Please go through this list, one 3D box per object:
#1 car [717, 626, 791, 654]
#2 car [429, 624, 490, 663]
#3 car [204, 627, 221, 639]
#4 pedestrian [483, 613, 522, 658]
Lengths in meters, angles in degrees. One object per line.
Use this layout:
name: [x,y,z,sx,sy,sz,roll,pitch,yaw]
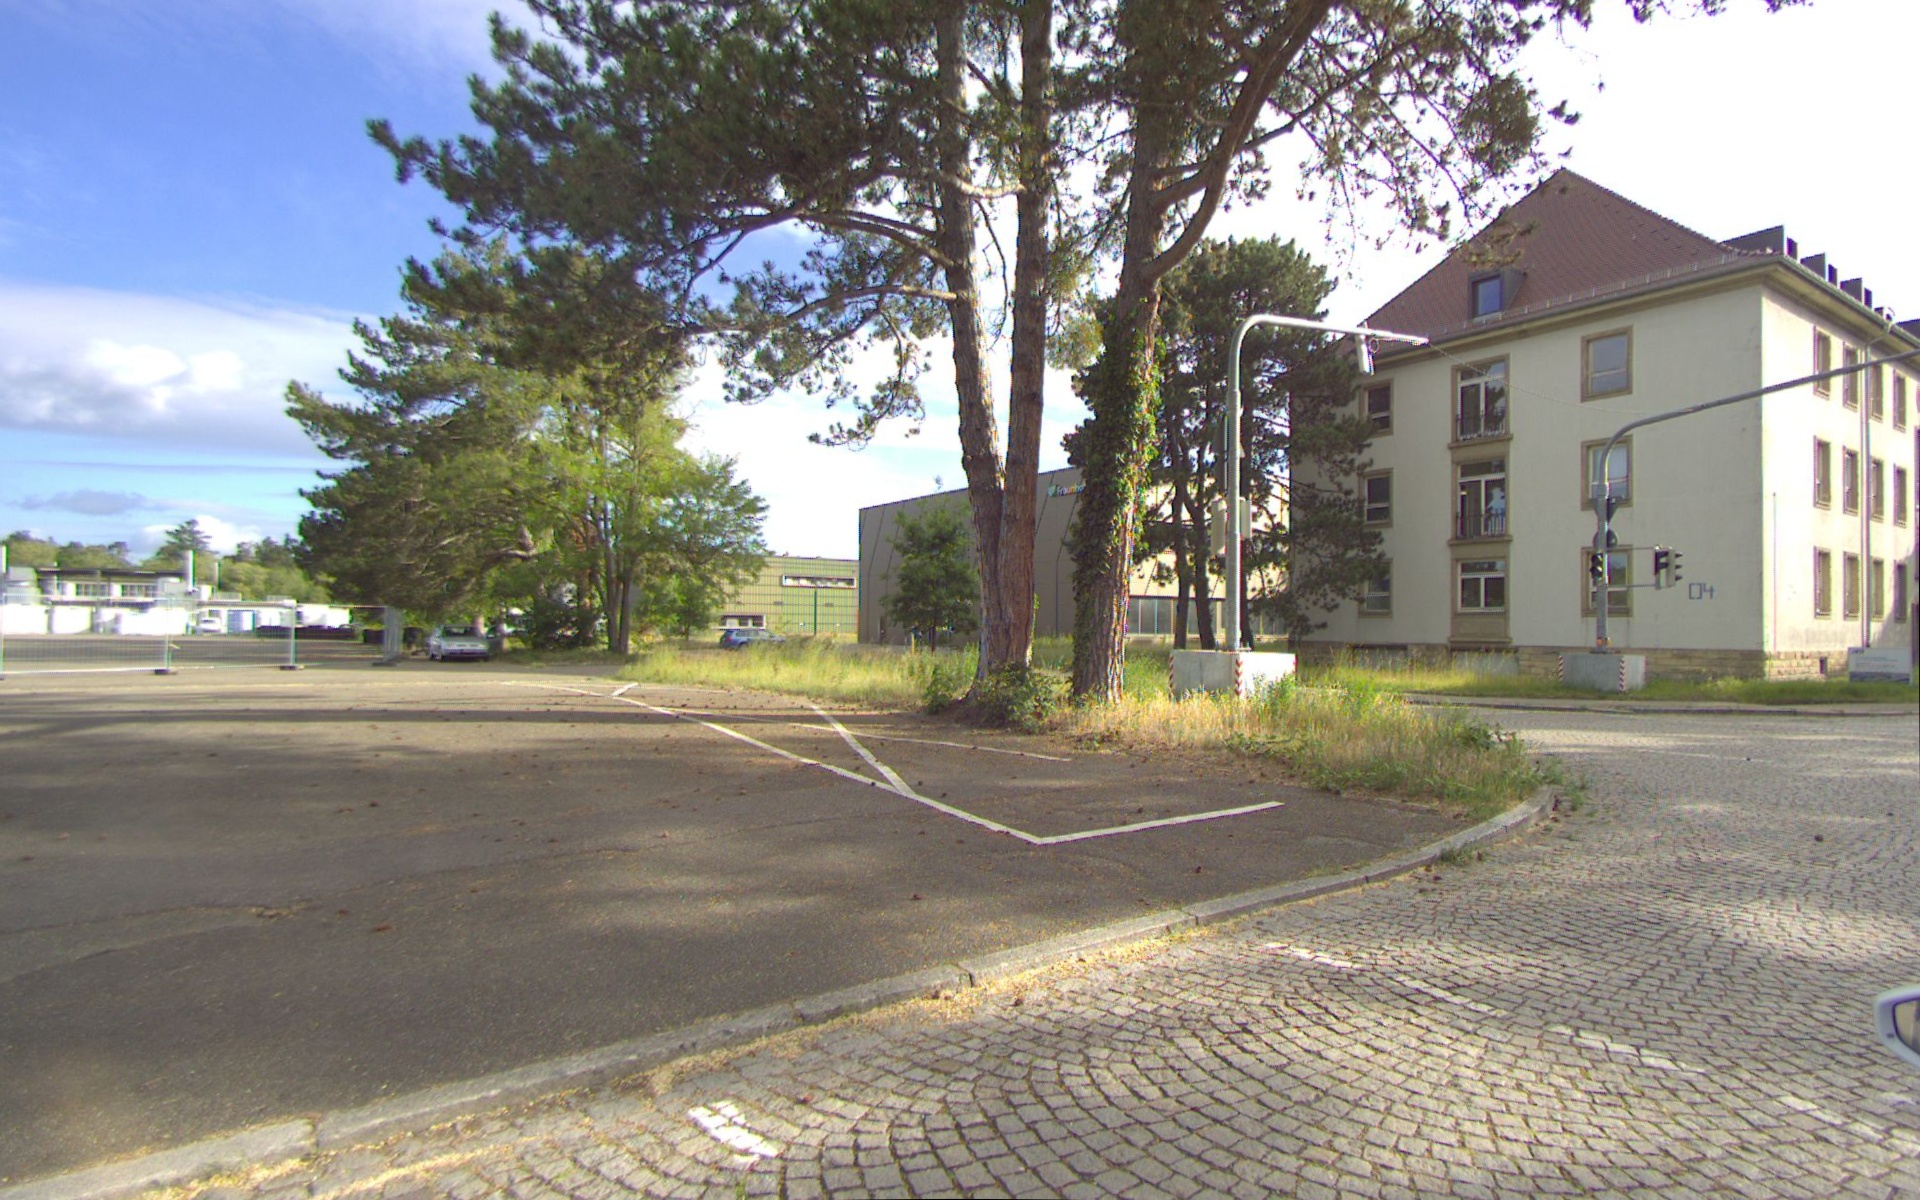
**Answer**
car: [-12.592,2.461,61.521,4.119,1.580,1.790,3,-2,-38]
car: [-19.474,1.672,38.992,1.648,1.400,3.963,2,-2,-33]
car: [-109.000,4.816,146.512,1.840,1.694,4.154,2,-2,-38]
pedestrian: [-18.163,1.413,39.899,0.862,1.767,1.095,1,-2,25]
